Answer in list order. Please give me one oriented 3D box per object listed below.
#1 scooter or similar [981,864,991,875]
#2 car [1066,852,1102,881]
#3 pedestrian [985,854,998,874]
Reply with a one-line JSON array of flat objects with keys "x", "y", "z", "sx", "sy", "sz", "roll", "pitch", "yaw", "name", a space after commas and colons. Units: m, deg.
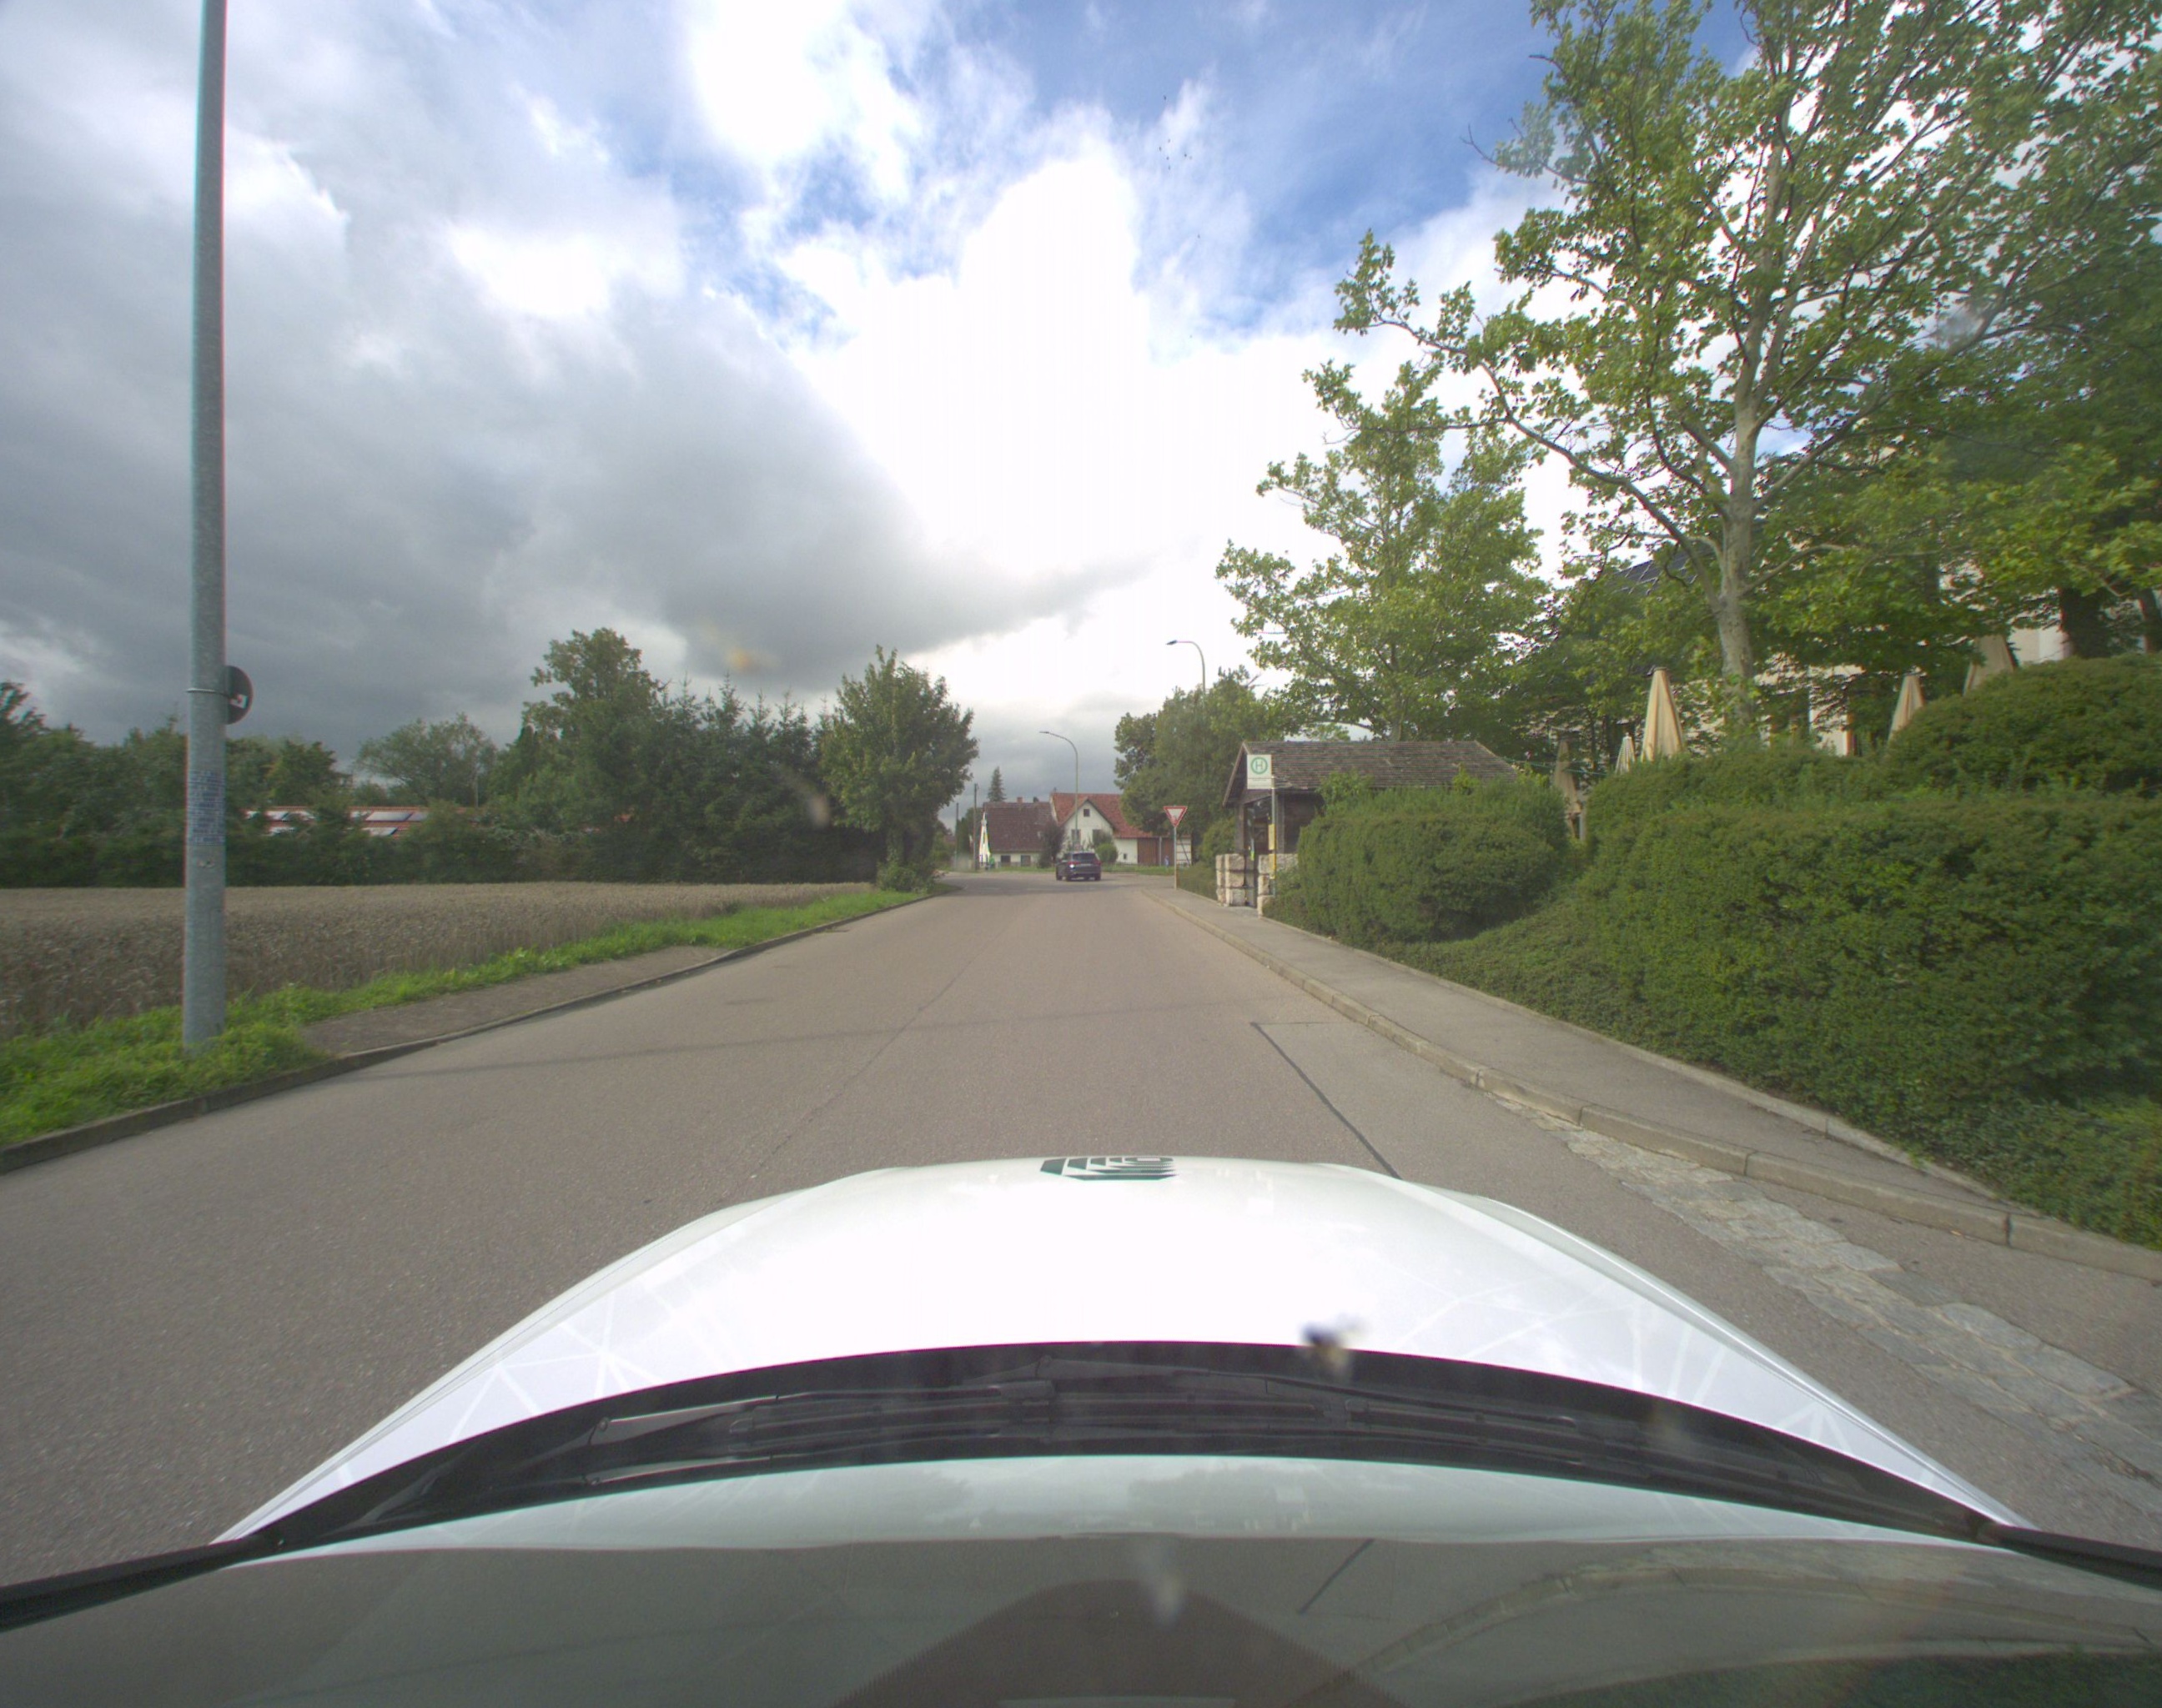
[{"x": -8.330, "y": 1.331, "z": 71.457, "sx": 0.635, "sy": 0.948, "sz": 0.616, "roll": 5, "pitch": -3, "yaw": -32, "name": "scooter or similar"}, {"x": 0.120, "y": 0.612, "z": 43.234, "sx": 1.793, "sy": 1.462, "sz": 3.660, "roll": -1, "pitch": 0, "yaw": -2, "name": "car"}, {"x": -7.818, "y": 0.898, "z": 71.003, "sx": 0.794, "sy": 1.665, "sz": 0.705, "roll": 5, "pitch": -3, "yaw": -32, "name": "pedestrian"}]
